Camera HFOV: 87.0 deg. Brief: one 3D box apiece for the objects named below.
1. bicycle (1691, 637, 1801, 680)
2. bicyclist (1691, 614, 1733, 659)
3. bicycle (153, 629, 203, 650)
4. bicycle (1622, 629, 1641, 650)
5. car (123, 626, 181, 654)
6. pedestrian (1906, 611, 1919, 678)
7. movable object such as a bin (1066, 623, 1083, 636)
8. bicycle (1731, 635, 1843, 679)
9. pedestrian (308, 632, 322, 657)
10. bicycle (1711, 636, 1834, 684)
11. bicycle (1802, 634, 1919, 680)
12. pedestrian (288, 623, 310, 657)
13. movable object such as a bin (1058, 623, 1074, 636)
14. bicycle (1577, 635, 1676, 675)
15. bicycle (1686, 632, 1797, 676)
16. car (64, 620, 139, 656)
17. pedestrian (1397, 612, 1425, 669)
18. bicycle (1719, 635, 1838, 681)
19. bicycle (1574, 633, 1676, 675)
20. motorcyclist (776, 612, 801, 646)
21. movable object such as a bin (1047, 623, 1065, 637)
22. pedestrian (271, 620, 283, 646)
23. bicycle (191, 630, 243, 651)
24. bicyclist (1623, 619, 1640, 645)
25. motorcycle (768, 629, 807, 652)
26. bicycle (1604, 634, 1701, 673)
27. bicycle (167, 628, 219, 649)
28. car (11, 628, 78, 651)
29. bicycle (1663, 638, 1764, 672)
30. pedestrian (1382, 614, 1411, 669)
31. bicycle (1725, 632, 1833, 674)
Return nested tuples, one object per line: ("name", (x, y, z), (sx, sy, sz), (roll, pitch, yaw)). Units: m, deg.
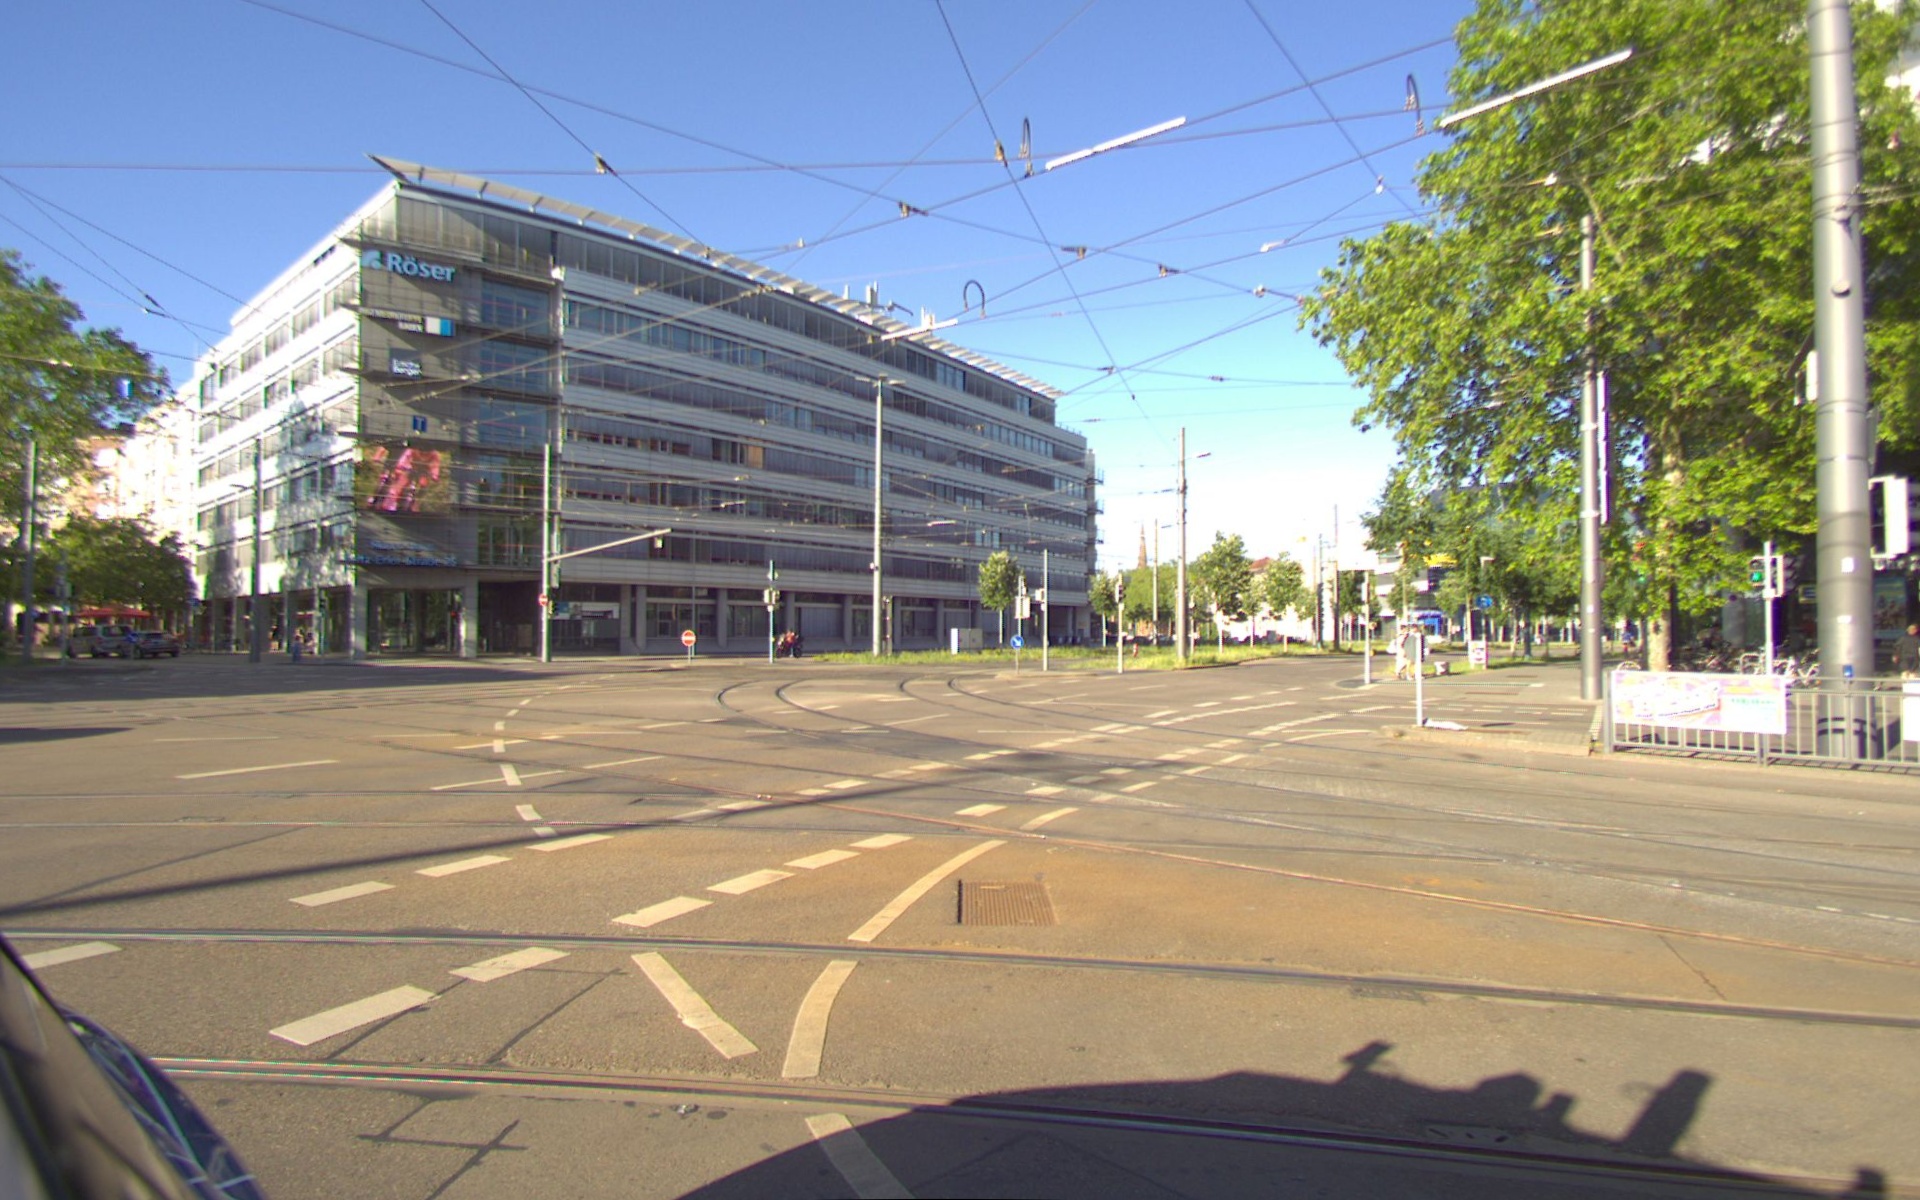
("bicycle", (21.777, 1.602, 28.079), (2.364, 1.137, 0.591), (-1, -2, 39))
("bicyclist", (26.337, 1.270, 35.450), (0.881, 1.560, 0.942), (2, -2, -34))
("bicycle", (-47.946, 2.431, 62.086), (0.770, 1.223, 2.377), (-1, -3, 22))
("bicycle", (37.416, 2.202, 56.385), (0.693, 1.145, 1.827), (-1, -2, 39))
("car", (-44.722, 2.207, 55.989), (3.976, 1.486, 1.842), (-2, -2, 41))
("pedestrian", (24.725, 1.152, 25.874), (0.716, 1.693, 0.820), (-1, -3, 40))
("movable object such as a bin", (11.775, 3.052, 104.064), (1.173, 1.311, 1.311), (-2, -2, 40))
("bicycle", (22.867, 1.556, 28.032), (2.364, 1.137, 0.591), (-1, -2, 39))
("pedestrian", (-32.293, 2.225, 50.680), (0.461, 1.219, 0.437), (-2, -3, 36))
("bicycle", (20.290, 1.488, 25.348), (2.364, 1.137, 0.591), (-1, -2, 39))
("bicycle", (23.400, 1.448, 26.244), (2.364, 1.137, 0.591), (-1, -2, 39))
("pedestrian", (-32.984, 2.000, 50.486), (0.792, 1.653, 0.653), (-2, -3, 36))
("movable object such as a bin", (10.807, 3.017, 103.145), (1.173, 1.311, 1.311), (-2, -2, 40))
("bicycle", (19.579, 1.599, 29.761), (2.365, 1.137, 0.591), (-1, -3, 40))
("bicycle", (21.322, 1.453, 27.646), (2.364, 1.137, 0.591), (-1, -2, 39))
("car", (-49.568, 2.173, 58.401), (4.438, 2.031, 1.849), (-1, -2, 29))
("pedestrian", (15.043, 1.349, 33.750), (0.732, 1.884, 0.665), (-1, -2, 37))
("bicycle", (21.131, 1.471, 26.189), (2.364, 1.137, 0.591), (-1, -2, 39))
("bicycle", (18.739, 1.507, 28.561), (2.365, 1.137, 0.591), (-1, -3, 40))
("motorcyclist", (-9.678, 1.622, 57.186), (0.820, 1.871, 1.098), (0, -1, 37))
("movable object such as a bin", (9.507, 2.949, 100.204), (1.328, 1.311, 1.158), (-2, -2, 40))
("pedestrian", (-46.203, 2.217, 68.454), (0.578, 1.747, 0.794), (0, -3, -42))
("bicycle", (-43.955, 2.410, 59.921), (0.775, 1.223, 2.361), (-3, -4, 42))
("bicyclist", (37.472, 1.777, 56.463), (0.693, 1.472, 0.744), (-1, -2, 39))
("motorcycle", (-9.718, 2.255, 57.130), (0.820, 1.230, 2.227), (0, -1, 37))
("bicycle", (20.912, 1.602, 30.615), (2.365, 1.137, 0.591), (-1, -3, 40))
("bicycle", (-45.563, 2.273, 60.154), (0.770, 1.223, 2.377), (-1, -3, 22))
("car", (-60.077, 2.596, 66.419), (3.953, 1.486, 1.852), (-1, -2, 24))
("bicycle", (26.335, 1.892, 35.424), (0.880, 1.112, 2.699), (2, -2, -31))
("pedestrian", (14.969, 1.415, 34.710), (0.733, 1.884, 0.690), (-1, -2, 39))
("bicycle", (23.388, 1.497, 28.944), (2.364, 1.137, 0.591), (-1, -2, 39))
